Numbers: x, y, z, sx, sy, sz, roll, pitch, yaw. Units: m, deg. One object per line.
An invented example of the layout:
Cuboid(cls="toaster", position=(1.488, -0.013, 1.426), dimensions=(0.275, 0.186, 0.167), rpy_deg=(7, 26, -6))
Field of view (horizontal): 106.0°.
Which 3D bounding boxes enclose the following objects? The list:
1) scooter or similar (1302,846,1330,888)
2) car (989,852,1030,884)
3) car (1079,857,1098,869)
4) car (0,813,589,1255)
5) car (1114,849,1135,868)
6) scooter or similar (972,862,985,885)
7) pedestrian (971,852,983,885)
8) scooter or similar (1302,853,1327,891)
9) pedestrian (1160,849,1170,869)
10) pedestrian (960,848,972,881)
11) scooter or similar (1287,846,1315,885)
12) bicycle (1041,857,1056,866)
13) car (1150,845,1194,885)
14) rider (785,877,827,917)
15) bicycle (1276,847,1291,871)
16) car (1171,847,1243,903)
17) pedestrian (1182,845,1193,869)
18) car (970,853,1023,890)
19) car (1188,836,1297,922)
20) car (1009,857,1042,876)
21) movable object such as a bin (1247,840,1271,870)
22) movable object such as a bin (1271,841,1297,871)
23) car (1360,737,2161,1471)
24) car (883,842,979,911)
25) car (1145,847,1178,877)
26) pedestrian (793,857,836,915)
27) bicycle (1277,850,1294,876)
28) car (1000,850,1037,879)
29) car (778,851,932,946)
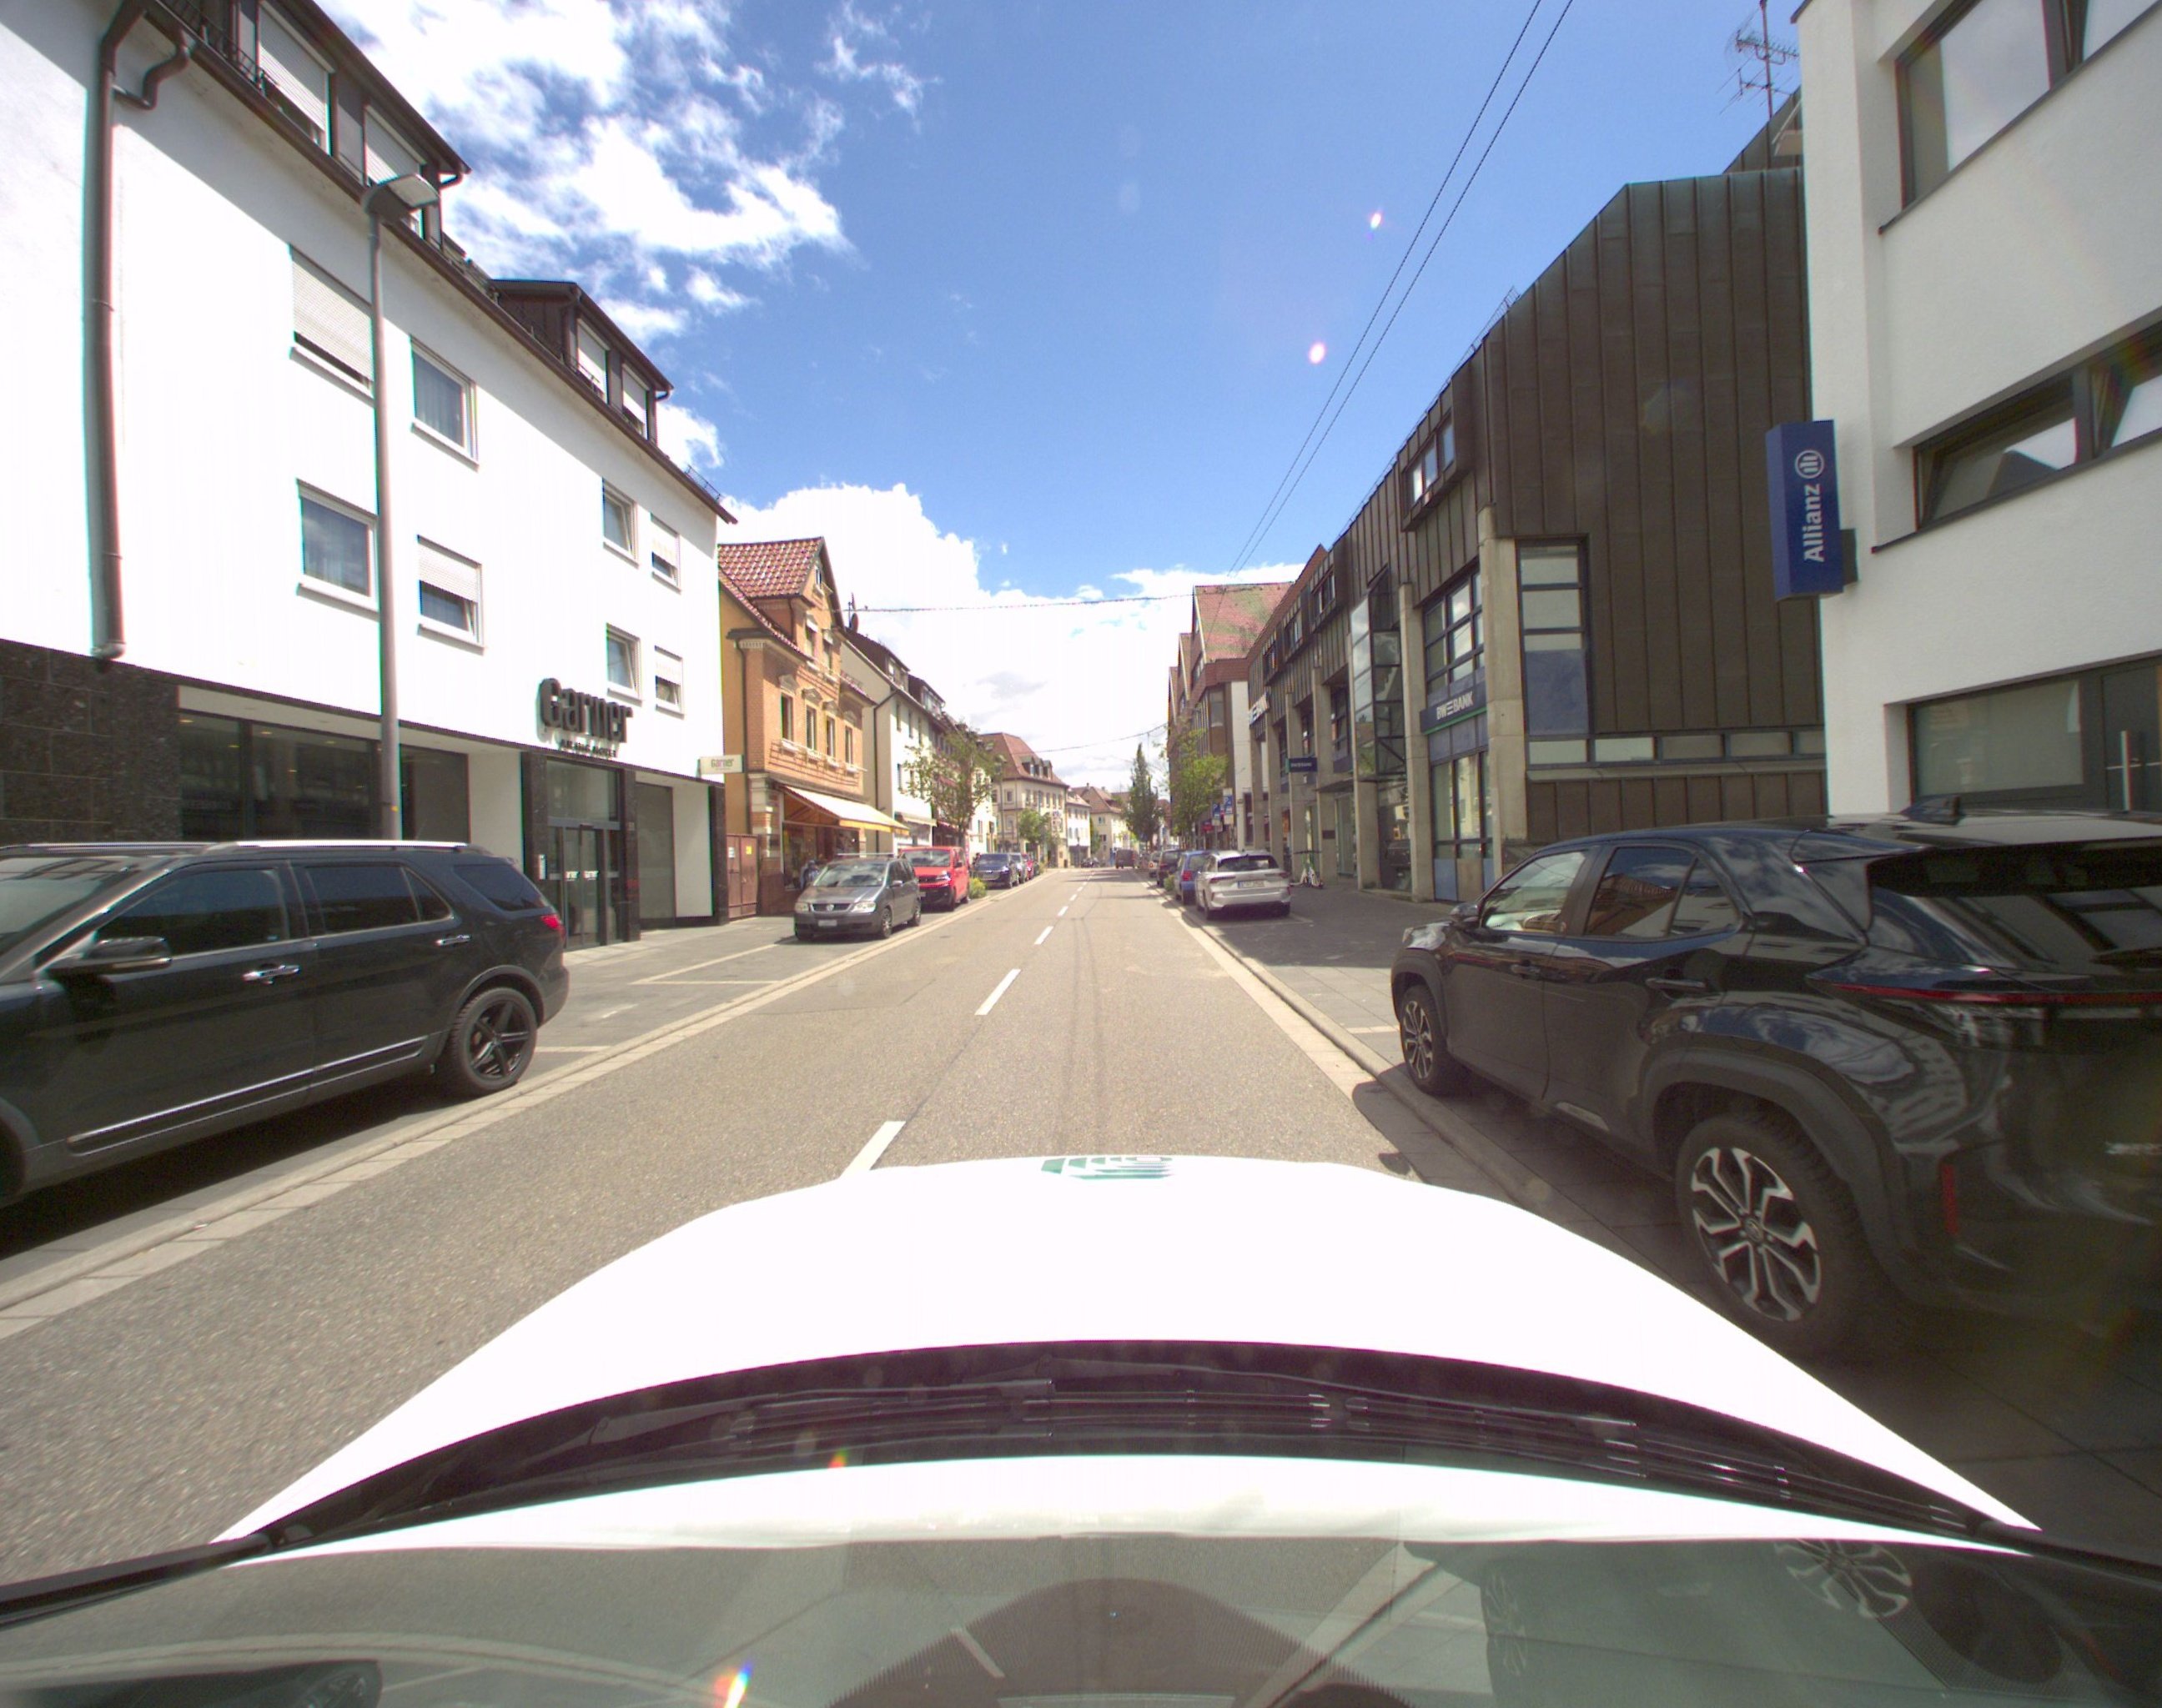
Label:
Cuboid(cls="scooter or similar", position=(7.100, 0.385, 24.674), dimensions=(0.420, 1.245, 1.562), rpy_deg=(0, -1, 2))
Cuboid(cls="car", position=(-3.777, 0.707, 43.506), dimensions=(1.794, 1.604, 4.349), rpy_deg=(-2, 0, -1))
Cuboid(cls="car", position=(1.007, 1.133, 105.872), dimensions=(1.613, 1.486, 3.819), rpy_deg=(-1, -1, 14))
Cuboid(cls="car", position=(-5.110, 0.733, 4.368), dimensions=(1.807, 1.755, 4.675), rpy_deg=(-1, -1, 5))
Cuboid(cls="car", position=(4.297, 0.447, 80.069), dimensions=(2.032, 1.848, 5.003), rpy_deg=(0, -1, 3))
Cuboid(cls="scooter or similar", position=(-5.167, 0.983, 41.107), dimensions=(0.560, 1.151, 0.985), rpy_deg=(0, -1, 0))
Cuboid(cls="pedestrian", position=(-5.173, 0.708, 40.369), dimensions=(0.512, 1.648, 0.472), rpy_deg=(0, -1, 0))
Cuboid(cls="scooter or similar", position=(7.928, 0.595, 27.687), dimensions=(0.420, 1.245, 1.562), rpy_deg=(0, -1, 2))
Cuboid(cls="pedestrian", position=(6.619, 0.396, 64.230), dimensions=(0.781, 1.615, 0.800), rpy_deg=(0, -1, 2))
Cuboid(cls="pedestrian", position=(-5.707, 0.521, 40.408), dimensions=(0.500, 1.648, 0.574), rpy_deg=(0, -1, -1))
Cuboid(cls="scooter or similar", position=(7.158, 0.366, 26.526), dimensions=(0.405, 1.245, 1.321), rpy_deg=(0, -1, -8))
Cuboid(cls="bicycle", position=(-3.769, 0.912, 93.441), dimensions=(1.619, 1.031, 0.570), rpy_deg=(-1, -1, 17))
Cuboid(cls="car", position=(3.837, 0.417, 34.677), dimensions=(1.602, 1.532, 3.798), rpy_deg=(-3, 0, 3))
Cuboid(cls="rider", position=(-7.344, 1.133, 21.743), dimensions=(0.796, 1.013, 0.711), rpy_deg=(-1, -1, 24))
Cuboid(cls="bicycle", position=(9.585, 0.229, 38.550), dimensions=(0.423, 1.119, 1.503), rpy_deg=(0, -1, 4))
Cuboid(cls="car", position=(3.624, 0.580, 24.005), dimensions=(1.714, 1.494, 4.112), rpy_deg=(0, -1, 3))
Cuboid(cls="pedestrian", position=(8.081, 0.249, 61.684), dimensions=(0.734, 1.814, 0.712), rpy_deg=(0, -1, 2))
Cuboid(cls="car", position=(-3.850, 0.757, 37.753), dimensions=(1.792, 1.598, 4.391), rpy_deg=(-1, 0, 2))
Cuboid(cls="car", position=(3.505, 0.497, 18.460), dimensions=(1.714, 1.576, 4.432), rpy_deg=(-5, 0, 3))
Cuboid(cls="car", position=(-3.716, 0.804, 55.373), dimensions=(1.812, 1.223, 4.525), rpy_deg=(0, 0, 2))
Cuboid(cls="movable object such as a bin", position=(9.423, 0.057, 43.121), dimensions=(1.137, 1.528, 1.033), rpy_deg=(-1, -1, 4))
Cuboid(cls="movable object such as a bin", position=(10.714, 0.110, 42.979), dimensions=(1.137, 1.528, 1.033), rpy_deg=(-1, -1, 4))
Cuboid(cls="car", position=(2.834, 0.551, 3.814), dimensions=(1.715, 1.577, 4.109), rpy_deg=(0, -1, 1))
Cuboid(cls="car", position=(-4.433, 0.636, 24.895), dimensions=(1.809, 1.889, 4.844), rpy_deg=(0, -1, 3))
Cuboid(cls="car", position=(4.590, 0.421, 46.595), dimensions=(1.603, 1.495, 3.798), rpy_deg=(-5, 0, 3))
Cuboid(cls="pedestrian", position=(-7.309, 0.861, 22.373), dimensions=(0.799, 1.574, 0.783), rpy_deg=(-1, -1, 20))
Cuboid(cls="bicycle", position=(9.033, 0.384, 36.019), dimensions=(0.423, 1.119, 1.743), rpy_deg=(0, -1, 4))
Cuboid(cls="car", position=(-3.700, 0.612, 48.942), dimensions=(1.793, 1.604, 4.218), rpy_deg=(-2, 0, 0))
Cuboid(cls="car", position=(-4.622, 0.857, 17.395), dimensions=(1.808, 1.755, 4.468), rpy_deg=(0, -1, 3))
